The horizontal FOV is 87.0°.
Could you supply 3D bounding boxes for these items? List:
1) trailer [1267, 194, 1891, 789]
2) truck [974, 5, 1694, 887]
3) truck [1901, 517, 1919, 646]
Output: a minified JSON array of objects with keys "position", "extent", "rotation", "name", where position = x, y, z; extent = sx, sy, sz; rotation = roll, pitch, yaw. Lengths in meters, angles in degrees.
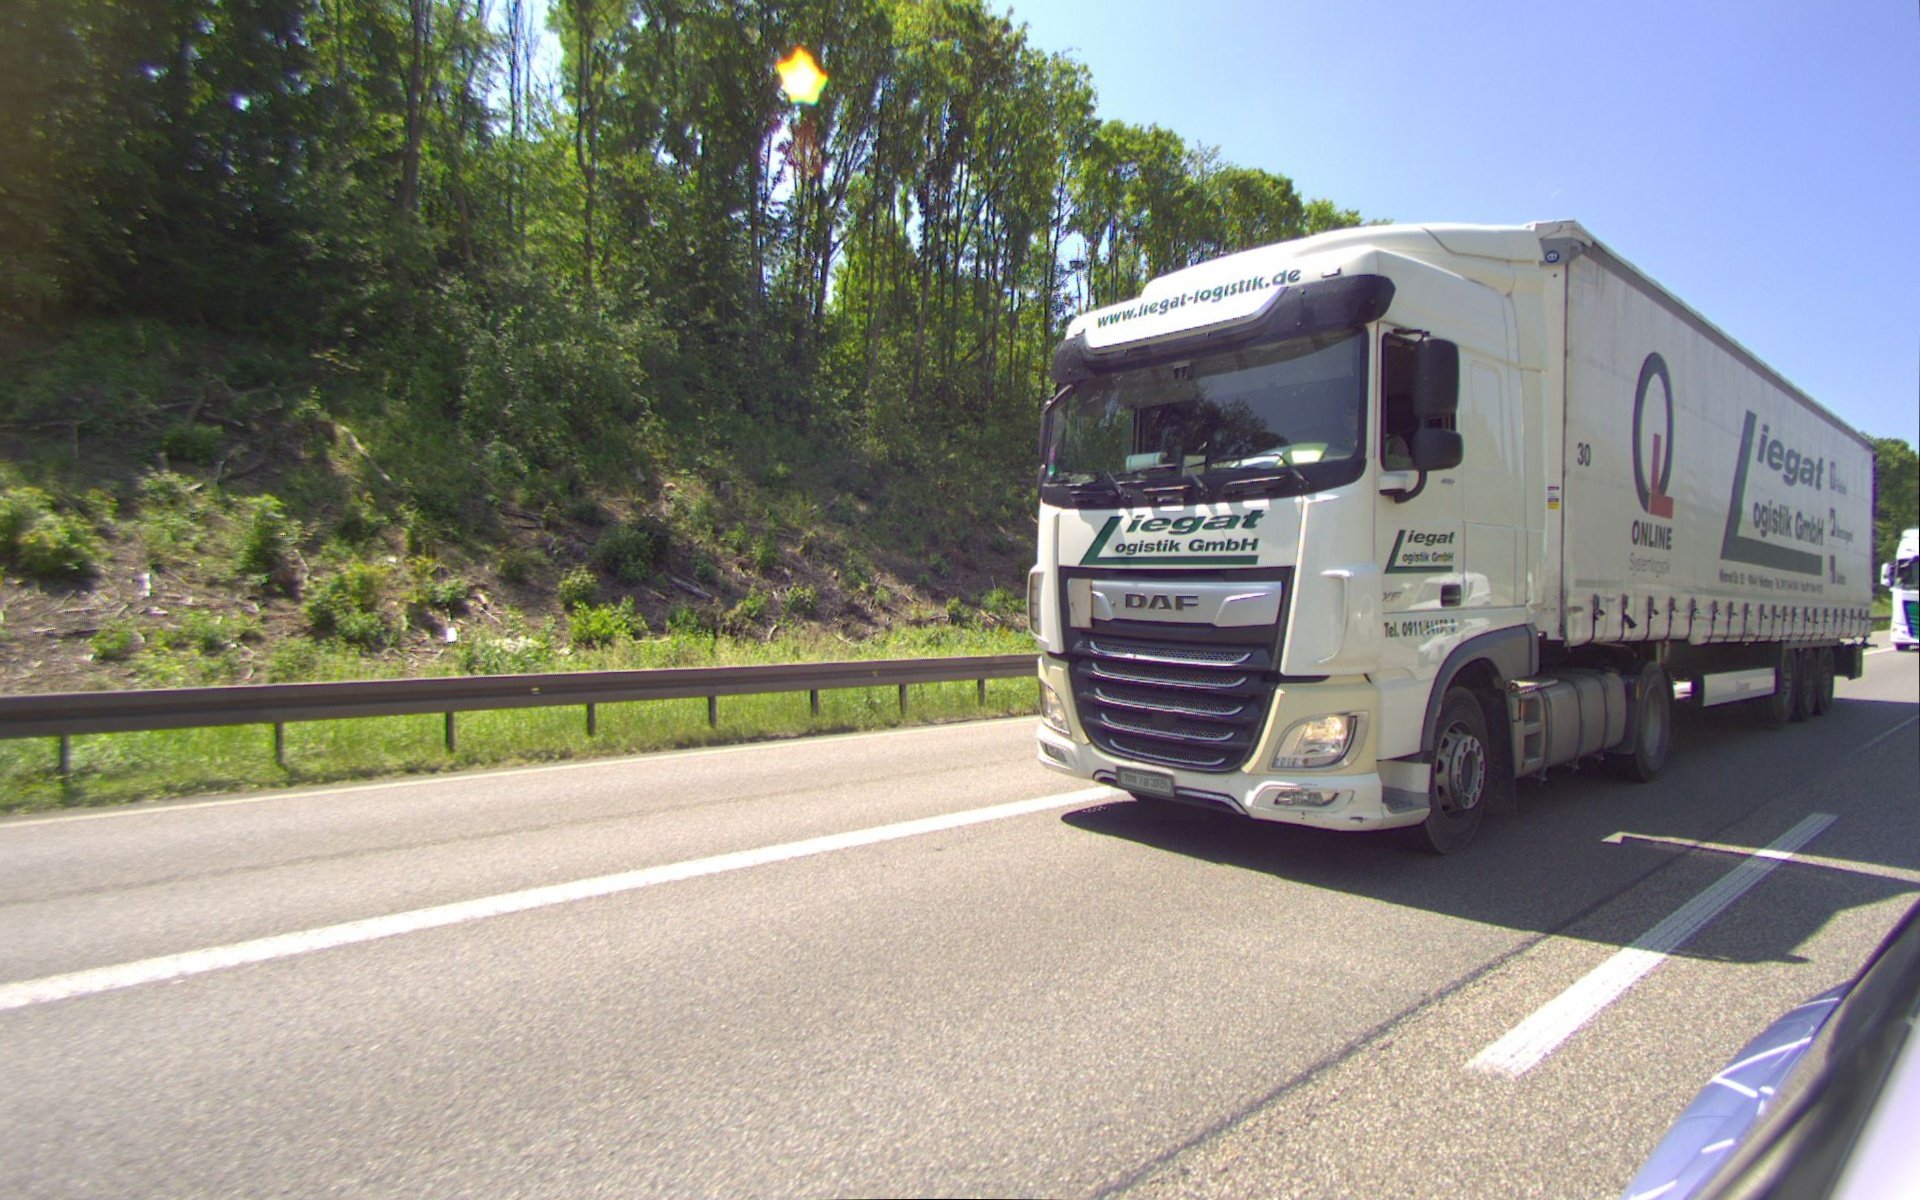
[{"position":[8.664,-0.703,12.560],"extent":[13.009,4.259,2.790],"rotation":[1,-1,-41],"name":"trailer"},{"position":[3.193,-0.721,7.829],"extent":[5.766,4.259,2.791],"rotation":[1,-1,-41],"name":"truck"},{"position":[33.273,-0.619,33.284],"extent":[6.506,4.080,2.541],"rotation":[-1,1,-39],"name":"truck"}]
